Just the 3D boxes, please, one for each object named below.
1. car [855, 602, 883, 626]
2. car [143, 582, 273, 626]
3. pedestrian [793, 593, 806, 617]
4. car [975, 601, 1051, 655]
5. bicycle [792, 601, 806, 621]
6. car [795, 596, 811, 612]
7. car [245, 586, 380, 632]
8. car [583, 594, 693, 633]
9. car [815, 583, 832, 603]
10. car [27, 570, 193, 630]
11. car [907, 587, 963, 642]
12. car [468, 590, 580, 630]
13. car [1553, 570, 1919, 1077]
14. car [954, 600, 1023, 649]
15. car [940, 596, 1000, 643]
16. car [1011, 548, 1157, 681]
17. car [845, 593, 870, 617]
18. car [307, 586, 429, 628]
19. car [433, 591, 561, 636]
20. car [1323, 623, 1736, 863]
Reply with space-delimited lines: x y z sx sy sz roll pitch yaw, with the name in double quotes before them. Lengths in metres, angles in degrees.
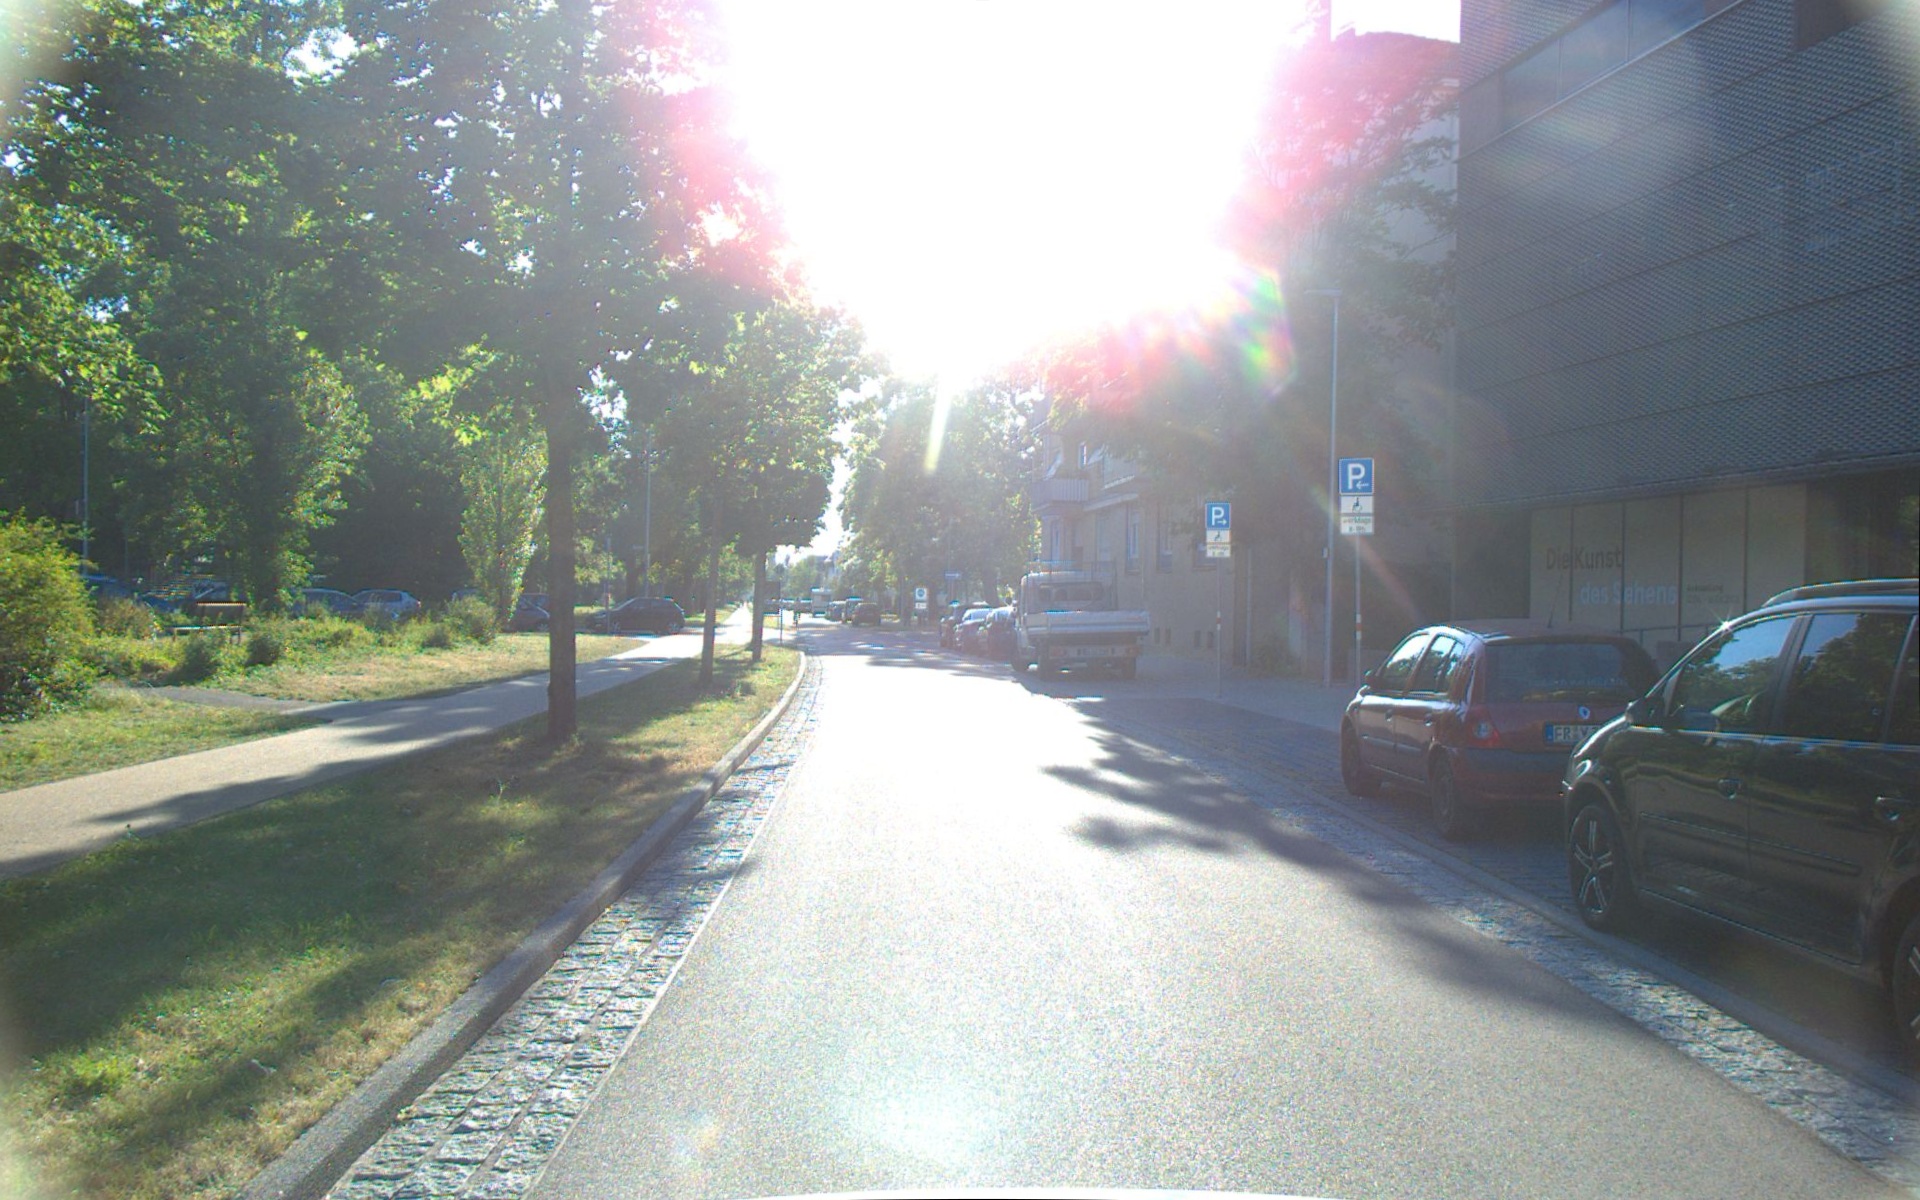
"car" -6.063 0.940 110.249 1.758 1.536 3.998 2 0 -2
"car" -26.281 0.140 57.860 3.948 1.445 1.752 1 0 -32
"pedestrian" -9.713 0.293 99.957 0.674 1.459 1.024 1 0 -2
"car" 1.450 0.757 46.717 1.658 1.466 3.545 0 0 -6
"bicycle" -9.718 0.659 99.925 0.674 1.223 2.342 1 0 -2
"car" -20.611 0.561 217.357 1.955 2.004 3.995 2 0 -5
"car" -21.337 0.287 54.496 3.944 1.445 1.754 1 0 -30
"car" -12.840 0.543 66.018 3.949 1.445 1.752 2 0 -33
"car" -14.551 -0.695 176.180 1.759 2.034 3.996 2 0 -5
"car" -26.378 0.011 51.495 4.474 1.715 1.757 2 0 -26
"car" -1.010 0.562 64.799 1.788 2.049 3.599 2 0 -7
"car" -16.859 0.381 63.920 3.869 1.445 1.755 2 0 -29
"car" 4.013 0.741 6.569 1.690 1.698 4.112 0 0 -3
"car" 0.853 0.735 52.026 1.658 1.466 4.098 0 0 -6
"car" 0.315 0.661 58.033 1.658 1.592 4.098 0 0 -6
"car" 2.532 0.287 35.537 2.168 2.574 6.141 -1 0 -5
"car" -7.717 0.368 124.124 1.759 1.755 3.996 2 0 -5
"car" -21.790 0.265 60.936 3.947 1.445 1.753 2 0 -32
"car" -16.058 0.468 57.387 3.947 1.445 1.753 2 0 -32
"car" 4.018 0.928 12.364 1.689 1.446 3.905 0 0 -1
